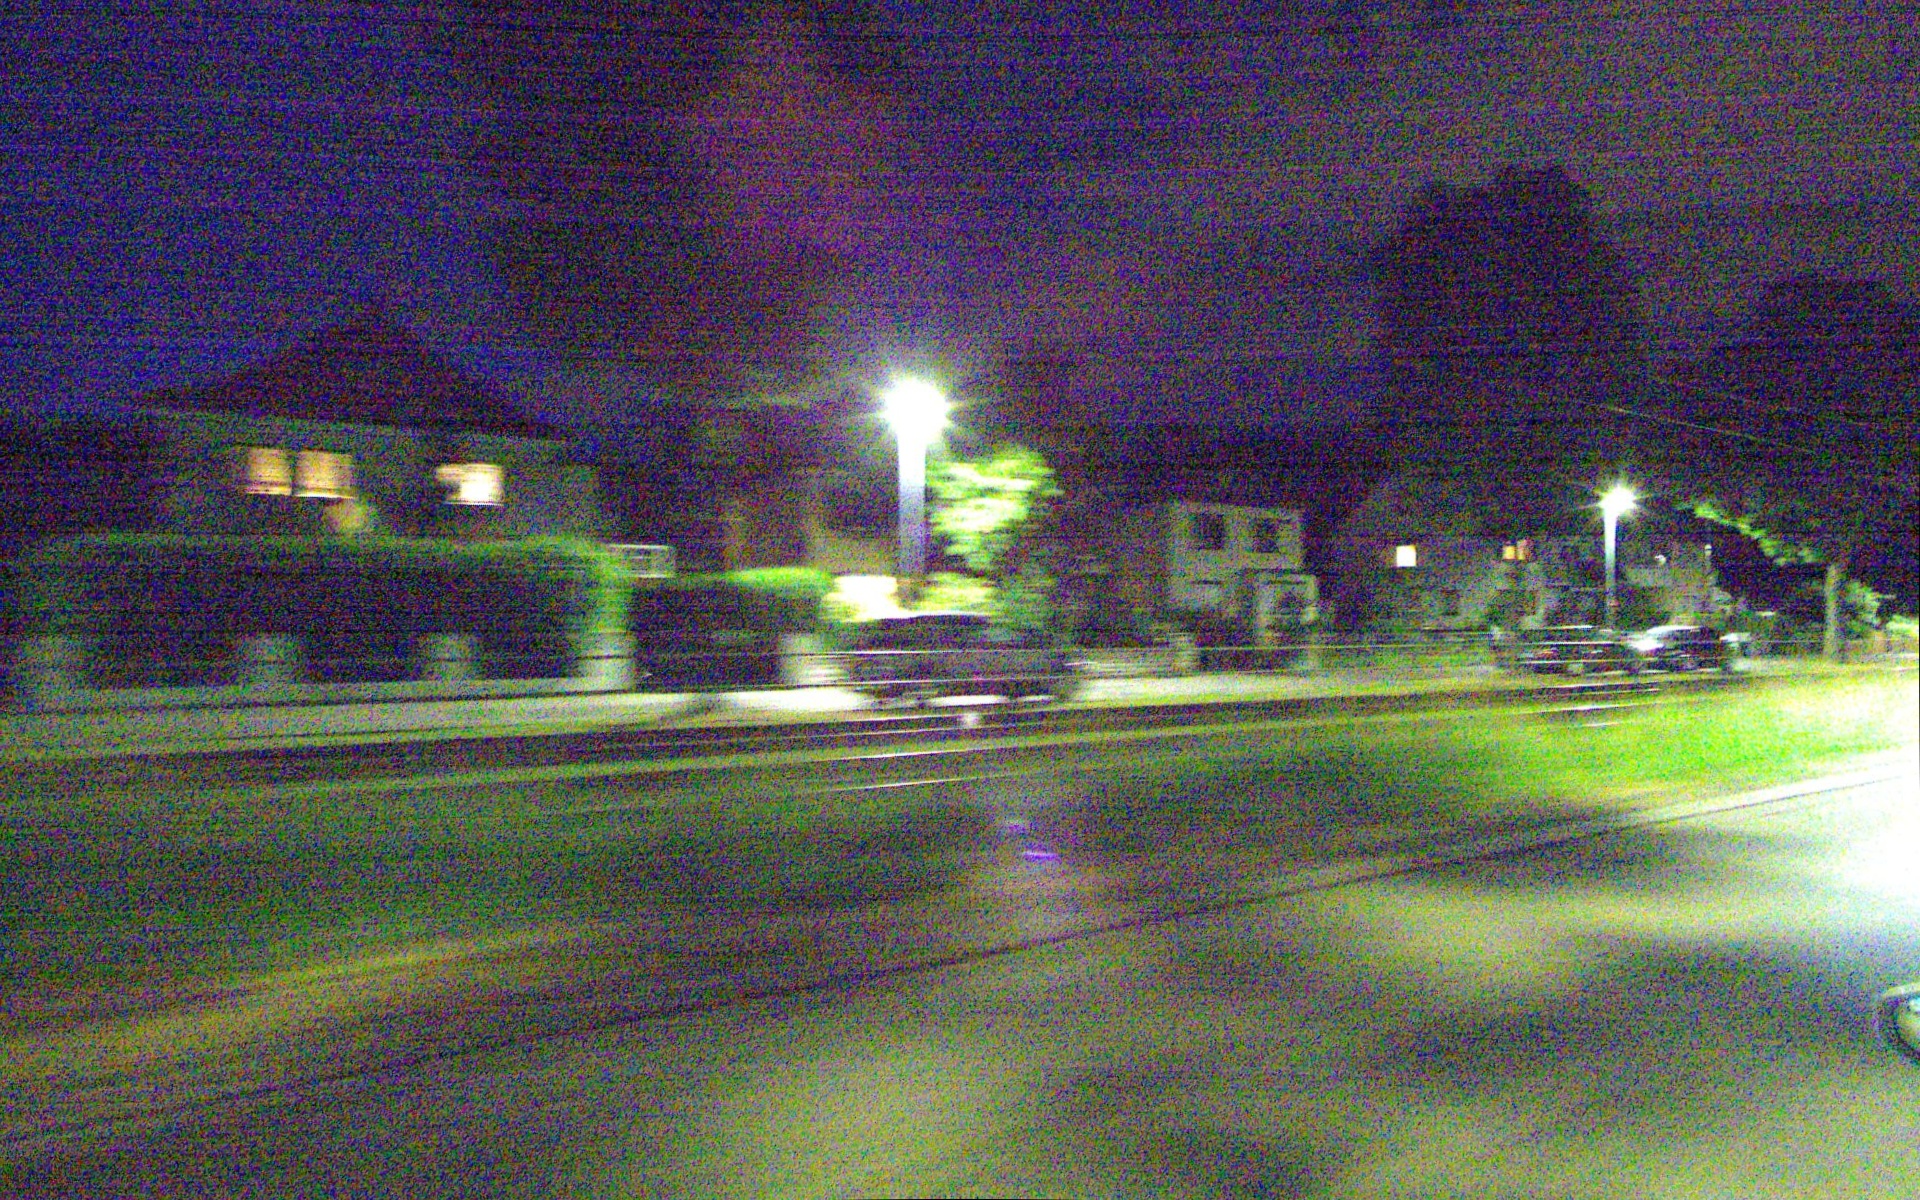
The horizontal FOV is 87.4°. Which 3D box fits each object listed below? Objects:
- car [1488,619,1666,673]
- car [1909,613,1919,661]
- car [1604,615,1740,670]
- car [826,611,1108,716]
[{"bbox_3d":[17.026,1.224,27.627,5.370,1.356,1.983,1,-2,-32],"label":"car"},{"bbox_3d":[42.818,1.524,43.008,3.955,2.039,2.082,1,-5,-31],"label":"car"},{"bbox_3d":[21.710,1.254,30.615,3.955,1.550,1.983,1,-1,-31],"label":"car"},{"bbox_3d":[0.163,1.055,17.758,4.620,1.649,1.985,1,-1,-29],"label":"car"}]
